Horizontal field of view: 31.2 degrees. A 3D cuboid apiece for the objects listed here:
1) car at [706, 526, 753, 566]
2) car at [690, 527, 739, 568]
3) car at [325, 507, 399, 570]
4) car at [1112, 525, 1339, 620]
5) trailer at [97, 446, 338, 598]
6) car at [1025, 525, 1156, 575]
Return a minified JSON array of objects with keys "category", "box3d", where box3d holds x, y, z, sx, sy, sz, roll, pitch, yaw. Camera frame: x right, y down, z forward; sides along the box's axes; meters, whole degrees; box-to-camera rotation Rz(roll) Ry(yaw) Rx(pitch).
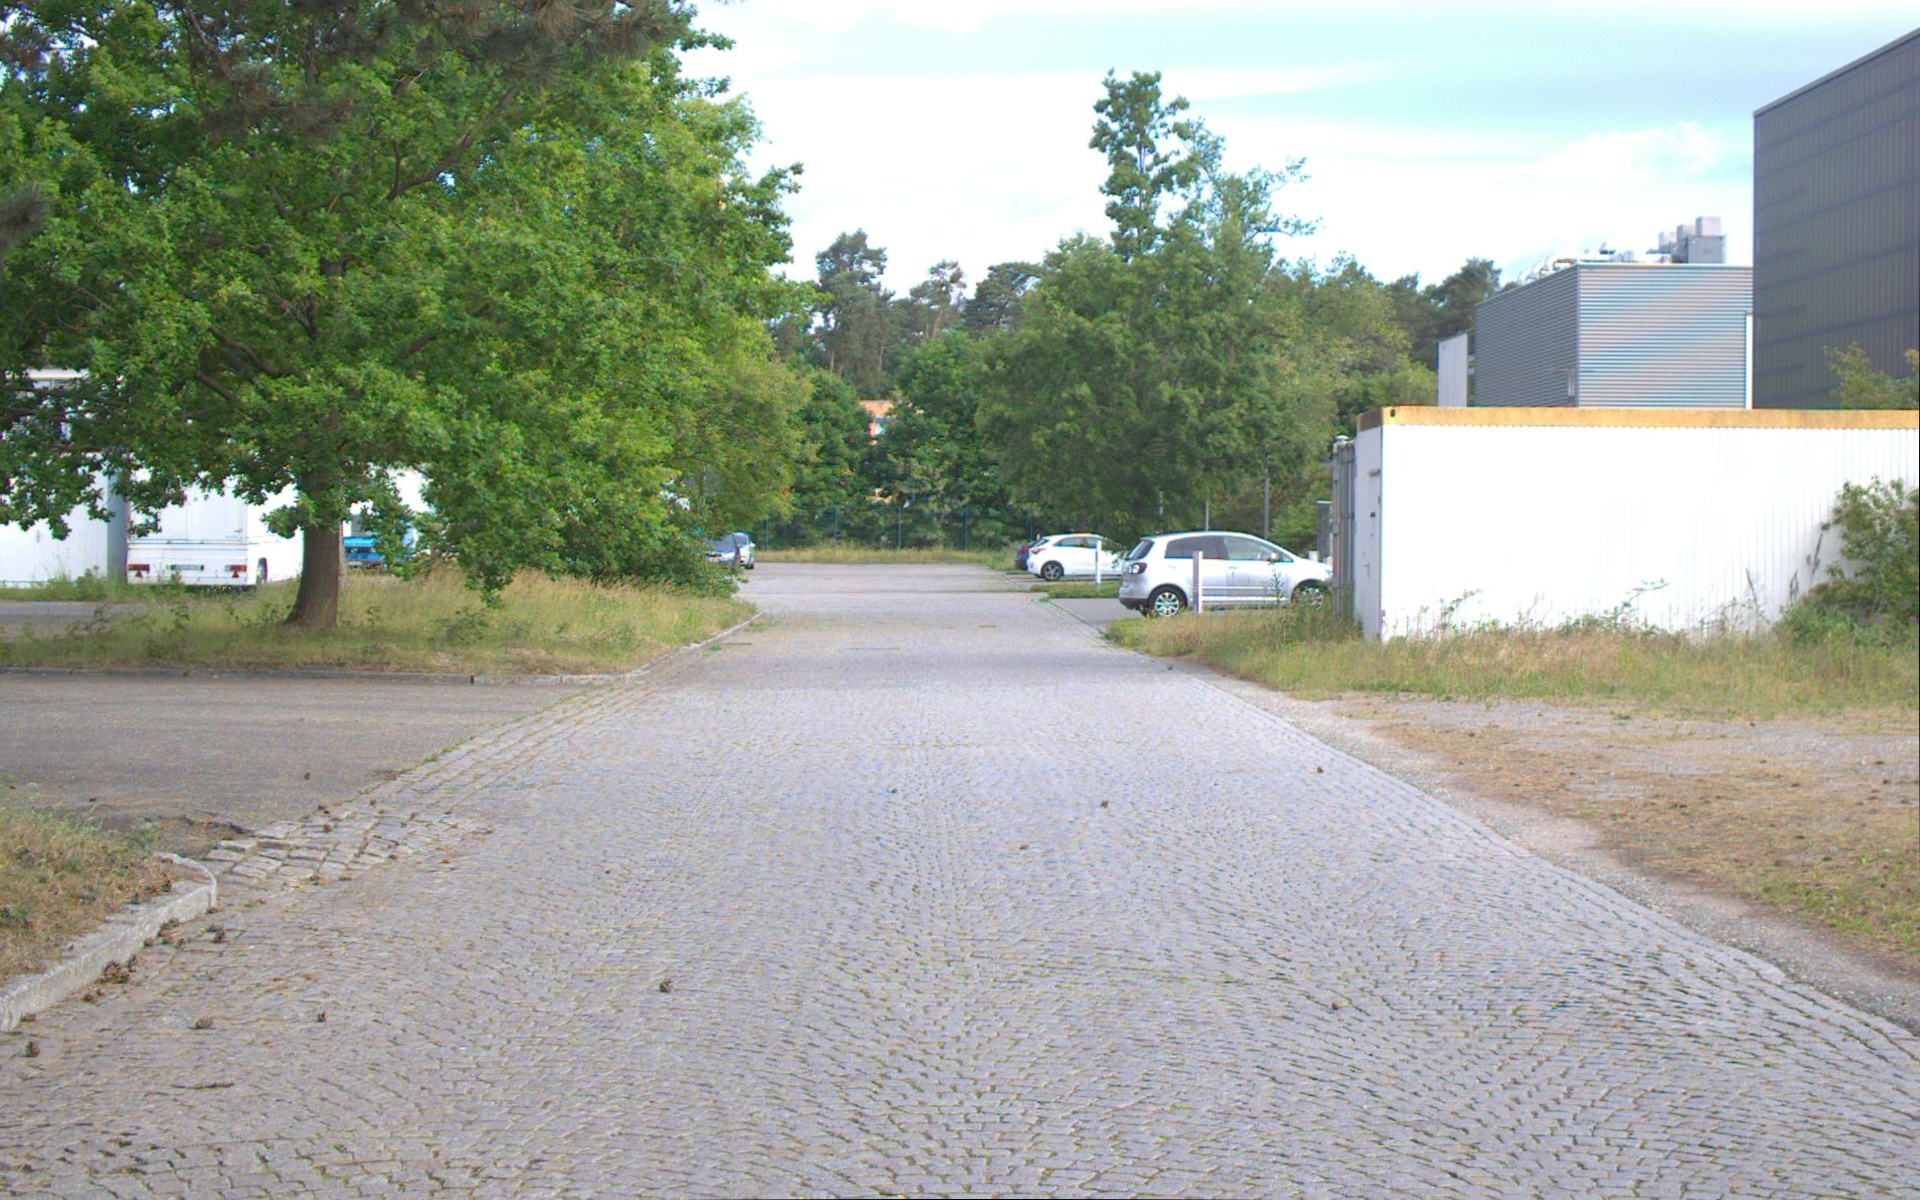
[{"category":"car","box3d":[-9.100,-2.147,136.013,1.803,1.529,4.001,0,1,-3]},{"category":"car","box3d":[-9.038,-1.946,126.657,1.735,1.464,4.046,0,1,-3]},{"category":"car","box3d":[-19.910,-2.067,114.624,1.925,2.040,4.601,0,1,-3]},{"category":"car","box3d":[4.730,-0.498,61.605,3.849,1.649,1.686,0,1,-3]},{"category":"trailer","box3d":[-15.840,-1.672,74.035,3.159,3.057,8.784,1,1,1]},{"category":"car","box3d":[4.072,-1.572,107.745,4.025,1.496,1.548,1,1,0]}]
